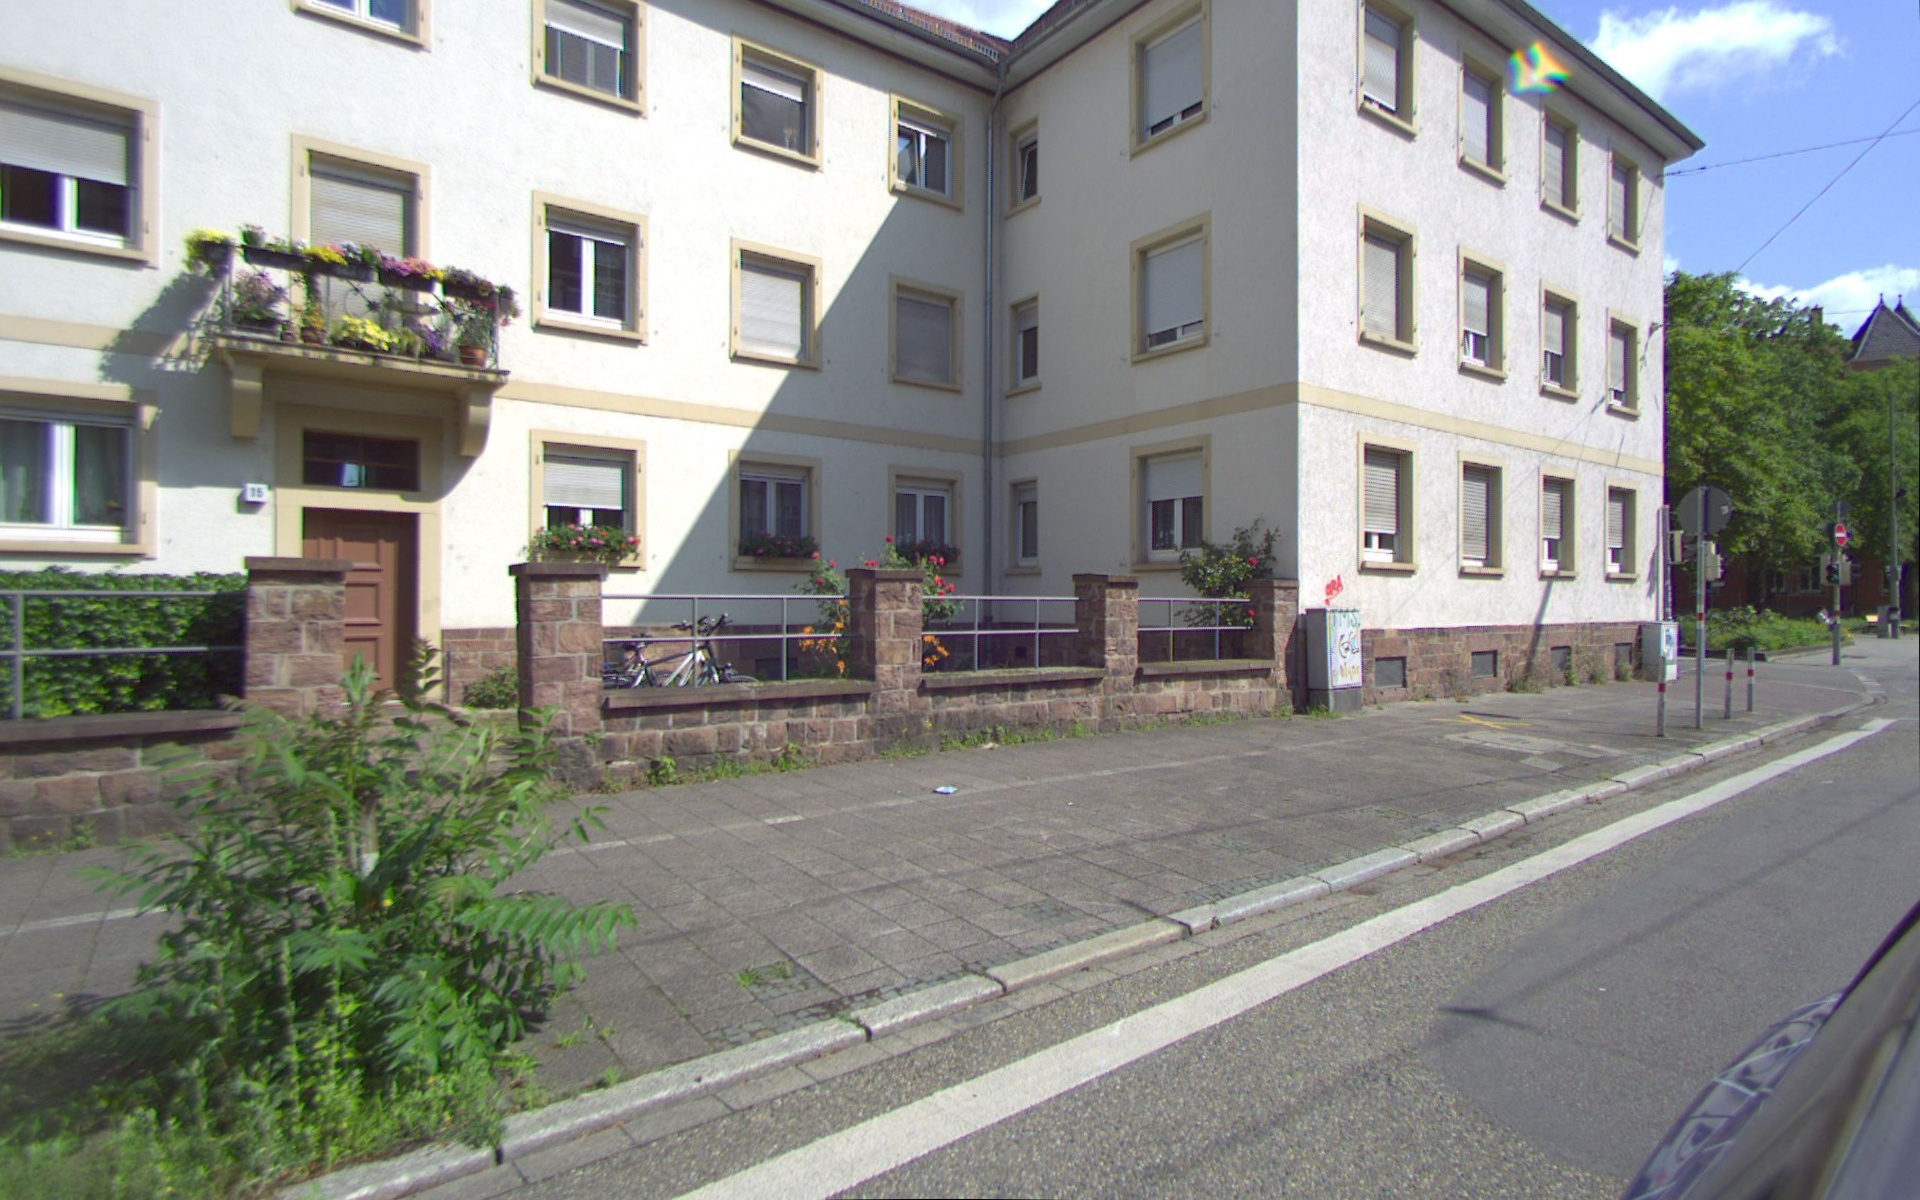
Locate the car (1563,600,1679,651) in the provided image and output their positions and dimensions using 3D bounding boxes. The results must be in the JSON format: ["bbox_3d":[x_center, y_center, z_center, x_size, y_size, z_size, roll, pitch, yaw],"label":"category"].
[{"bbox_3d":[21.644,0.796,33.286,1.601,1.509,3.725,2,0,6],"label":"car"}]

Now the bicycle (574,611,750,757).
[{"bbox_3d":[-2.685,0.714,9.212,1.464,1.216,0.505,0,-1,-40],"label":"bicycle"}]

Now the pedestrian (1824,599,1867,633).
[{"bbox_3d":[34.538,0.613,39.471,0.892,1.217,1.158,1,3,-44],"label":"pedestrian"}]

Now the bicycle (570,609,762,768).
[{"bbox_3d":[-2.431,0.688,8.460,1.463,1.216,0.506,0,-1,-38],"label":"bicycle"}]

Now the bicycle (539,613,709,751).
[{"bbox_3d":[-3.197,0.741,9.692,1.464,1.216,0.505,0,-1,-40],"label":"bicycle"}]
